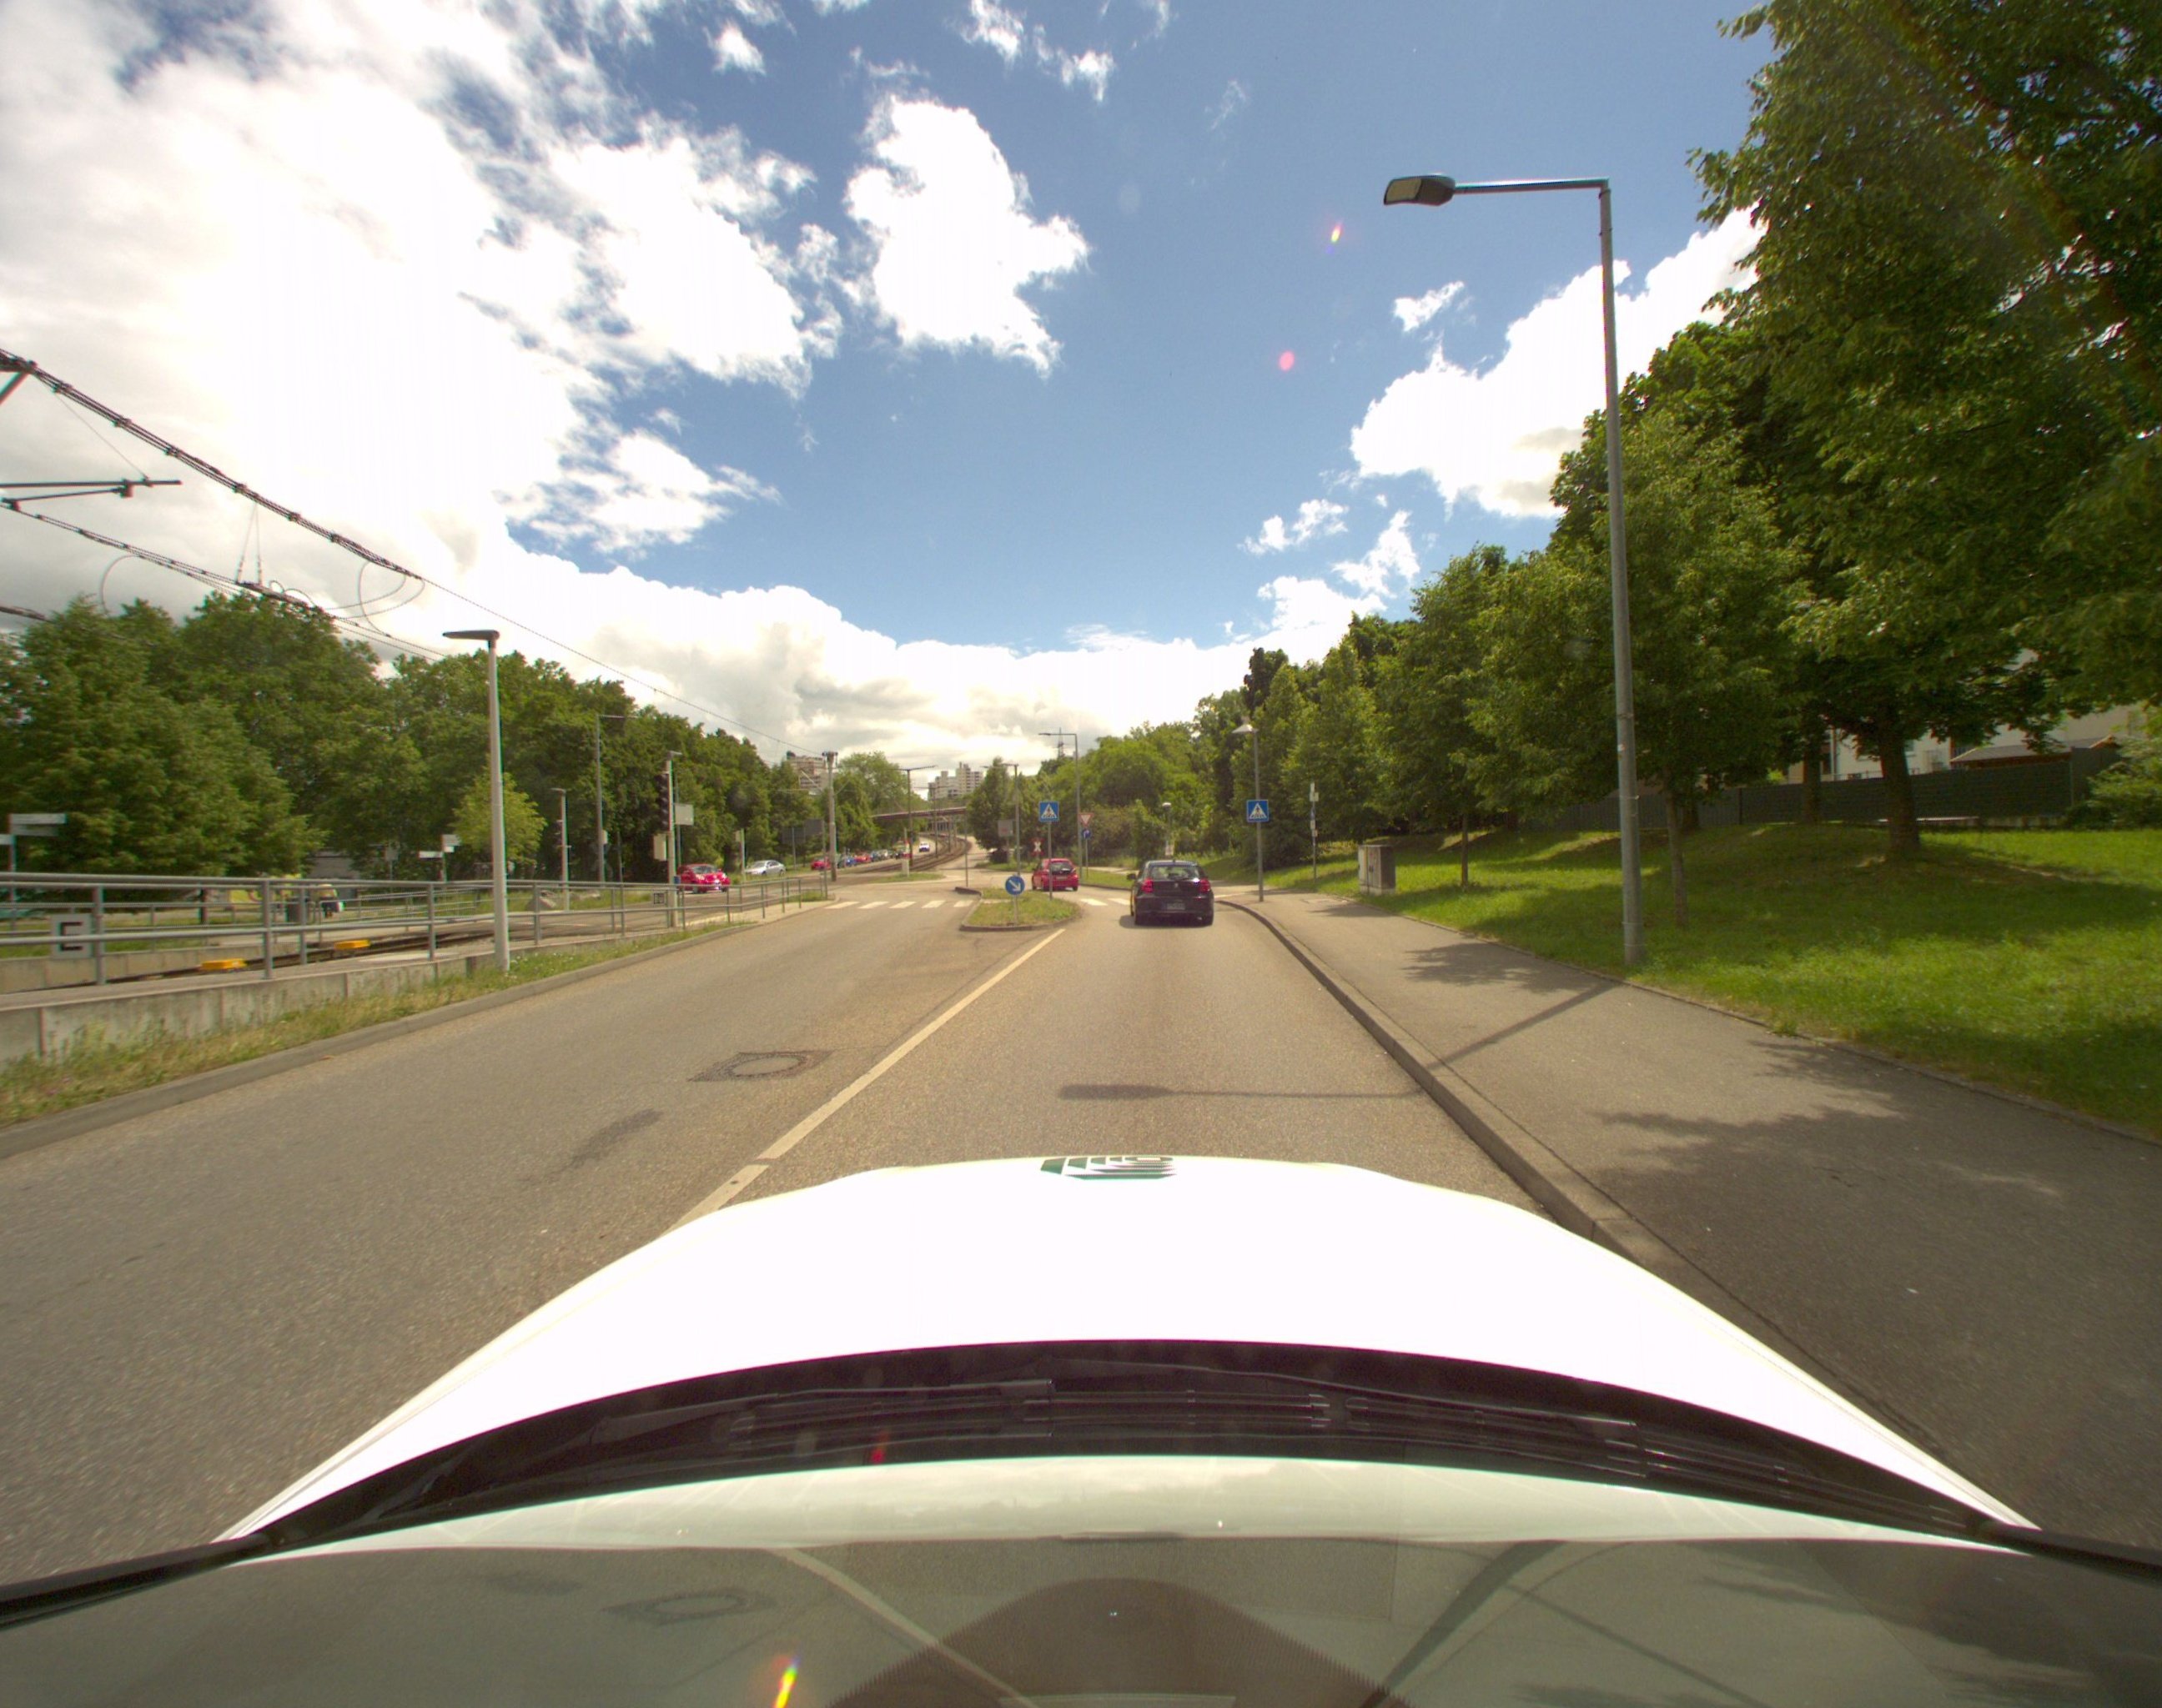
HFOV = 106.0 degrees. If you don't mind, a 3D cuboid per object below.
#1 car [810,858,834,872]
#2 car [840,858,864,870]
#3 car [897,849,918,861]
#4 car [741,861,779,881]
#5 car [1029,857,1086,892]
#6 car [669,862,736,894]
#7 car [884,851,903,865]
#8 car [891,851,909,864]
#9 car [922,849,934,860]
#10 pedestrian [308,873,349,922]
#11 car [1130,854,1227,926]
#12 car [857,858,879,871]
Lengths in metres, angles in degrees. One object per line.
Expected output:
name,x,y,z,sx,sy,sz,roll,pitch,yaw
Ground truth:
car,-26.334,1.079,82.882,1.525,1.370,3.592,-2,0,-4
car,-26.524,1.128,94.288,1.801,1.254,3.567,-2,1,-1
car,-25.567,0.162,120.252,1.987,1.597,4.420,-2,0,1
car,-24.922,1.289,63.257,1.876,1.350,3.819,-3,1,-9
car,-1.142,0.918,37.285,1.769,1.432,3.459,-3,-1,-16
car,-19.128,1.215,41.142,2.928,1.503,1.736,-2,0,33
car,-29.032,0.621,126.340,1.987,2.013,4.000,-2,1,0
car,-29.071,0.576,131.005,1.988,1.863,3.998,-2,1,-1
car,-29.644,0.046,157.612,1.995,2.013,3.983,-2,0,-12
pedestrian,-31.720,1.824,34.340,0.953,2.013,0.825,-1,1,14
car,2.159,0.783,19.063,1.809,1.421,4.000,-3,-1,1
car,-27.312,1.332,104.588,1.907,1.561,3.997,-2,0,-2
